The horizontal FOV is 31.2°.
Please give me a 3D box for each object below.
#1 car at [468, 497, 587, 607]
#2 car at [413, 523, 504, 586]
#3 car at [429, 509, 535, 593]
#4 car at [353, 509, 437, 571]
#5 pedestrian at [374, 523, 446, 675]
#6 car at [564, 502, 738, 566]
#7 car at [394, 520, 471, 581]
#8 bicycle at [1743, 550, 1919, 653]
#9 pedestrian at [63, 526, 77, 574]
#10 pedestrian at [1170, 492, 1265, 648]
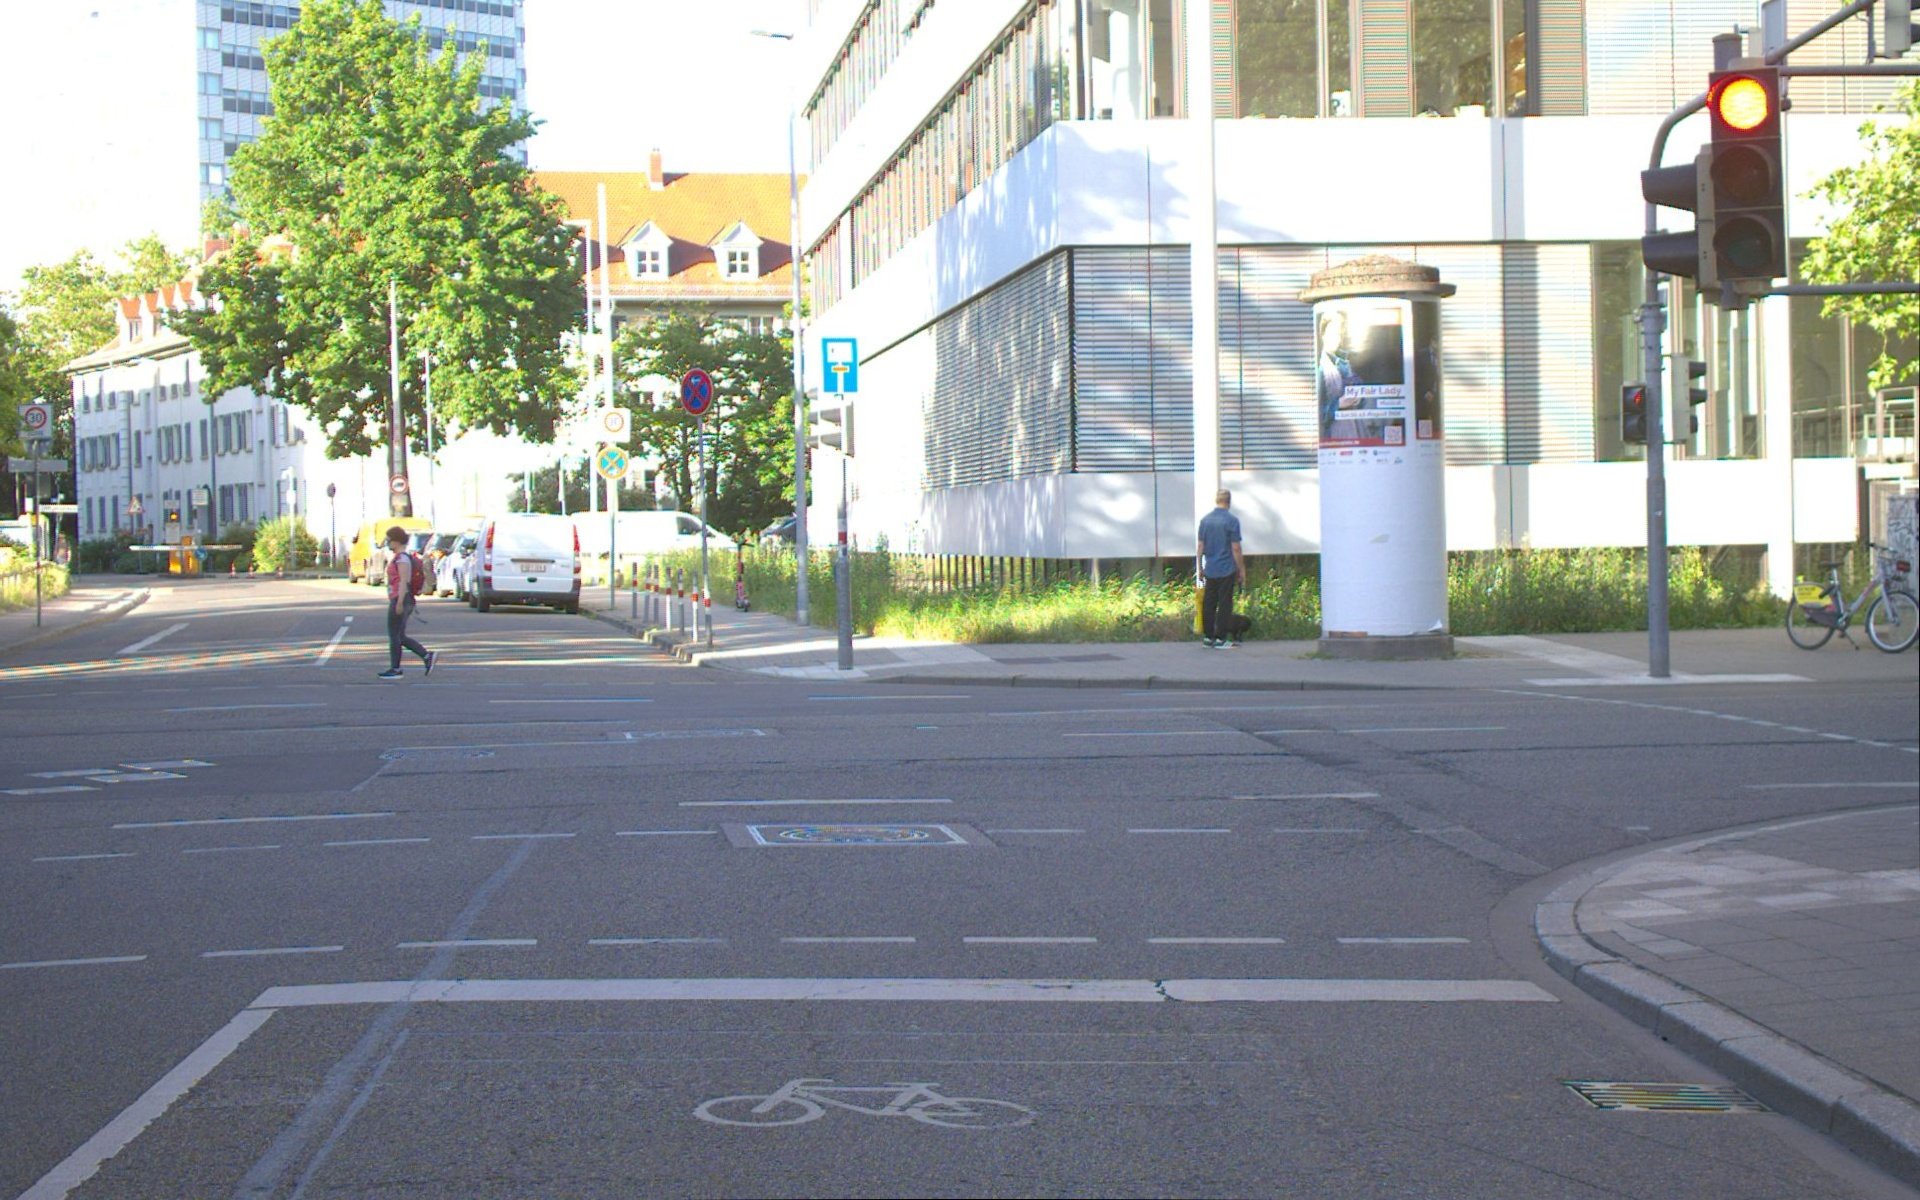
[{"bbox_3d":[-8.173,-0.916,64.661,2.066,1.956,4.239,-1,1,-9],"label":"car"},{"bbox_3d":[-11.903,-1.083,81.377,1.703,1.419,4.239,-1,1,-14],"label":"car"},{"bbox_3d":[-10.677,-1.104,76.579,1.946,1.789,4.239,-1,1,-13],"label":"car"},{"bbox_3d":[-15.748,-1.688,95.673,2.100,1.652,4.477,-1,1,-11],"label":"car"},{"bbox_3d":[-5.876,-0.017,36.756,0.711,1.594,0.617,-1,1,-8],"label":"pedestrian"},{"bbox_3d":[-9.259,-1.952,102.865,4.880,1.865,2.001,0,0,-17],"label":"car"},{"bbox_3d":[-13.196,-1.254,85.856,1.703,1.459,4.239,-1,1,-11],"label":"car"},{"bbox_3d":[9.178,0.008,36.139,0.463,1.045,1.914,-2,2,-42],"label":"bicycle"},{"bbox_3d":[-28.350,-1.585,109.531,0.380,1.529,0.446,-1,1,-12],"label":"pedestrian"},{"bbox_3d":[2.908,-0.344,38.841,0.811,1.730,0.653,0,2,45],"label":"pedestrian"}]
